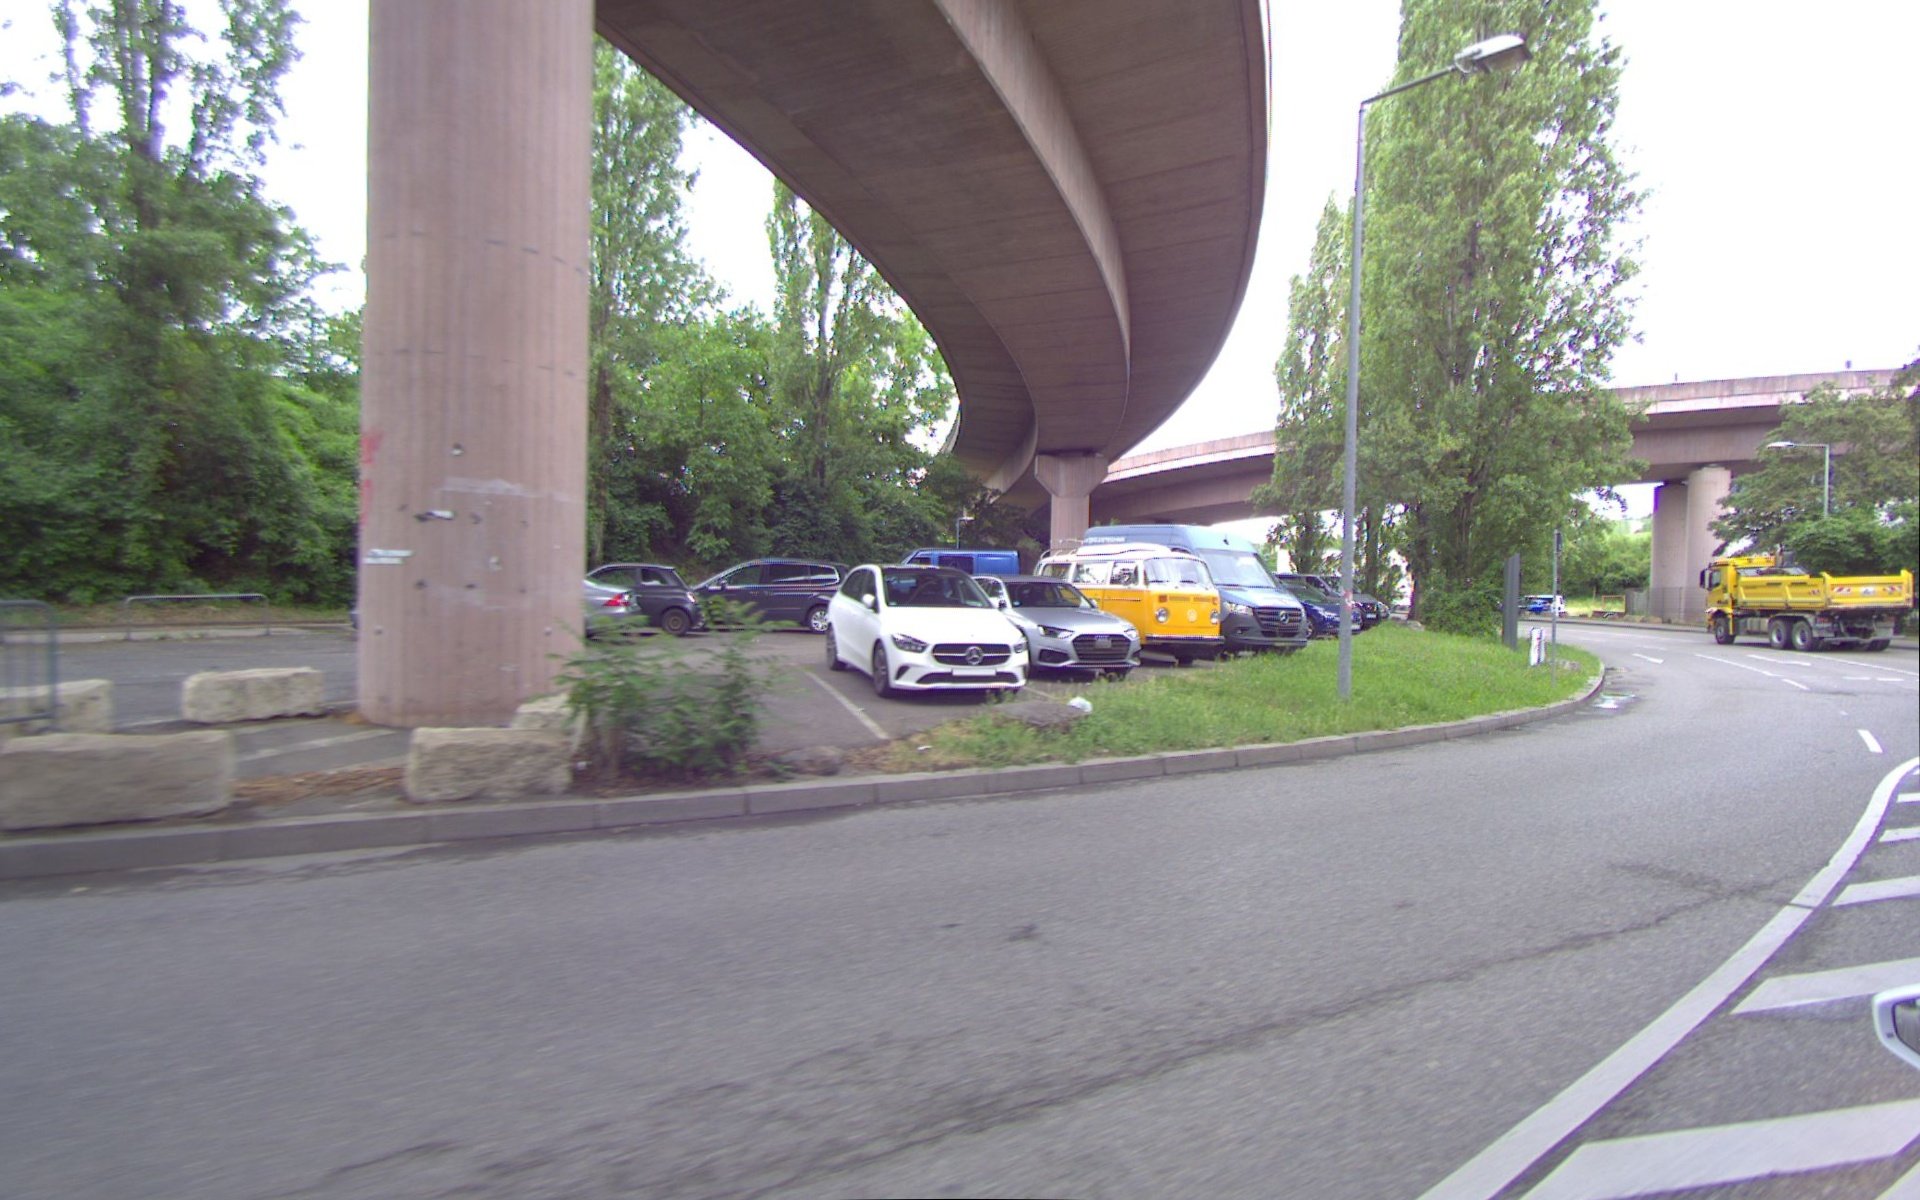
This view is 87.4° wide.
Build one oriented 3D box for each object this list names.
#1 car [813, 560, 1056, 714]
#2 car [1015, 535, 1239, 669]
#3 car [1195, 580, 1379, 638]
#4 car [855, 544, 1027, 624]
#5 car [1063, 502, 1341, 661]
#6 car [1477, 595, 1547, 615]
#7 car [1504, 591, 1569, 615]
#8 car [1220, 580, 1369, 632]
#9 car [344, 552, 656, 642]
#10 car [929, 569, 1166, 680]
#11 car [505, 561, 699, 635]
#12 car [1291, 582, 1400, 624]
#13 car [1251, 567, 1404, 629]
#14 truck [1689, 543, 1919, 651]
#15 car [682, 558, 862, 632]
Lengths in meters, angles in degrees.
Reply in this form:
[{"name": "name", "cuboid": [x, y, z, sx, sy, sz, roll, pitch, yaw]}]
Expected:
[{"name": "car", "cuboid": [-0.552, 0.335, 13.329, 1.925, 1.628, 4.373, 1, 3, -20]}, {"name": "car", "cuboid": [2.880, -0.031, 18.478, 1.825, 2.139, 4.542, 1, 2, -25]}, {"name": "car", "cuboid": [9.315, 0.252, 29.010, 2.056, 1.508, 4.805, 0, 0, -35]}, {"name": "car", "cuboid": [-0.617, -0.427, 30.482, 4.931, 2.284, 2.119, 0, -1, -13]}, {"name": "car", "cuboid": [4.693, -0.403, 20.828, 2.335, 2.762, 6.158, 0, 2, -24]}, {"name": "car", "cuboid": [43.536, 0.408, 79.286, 1.985, 1.461, 4.404, 1, -1, -42]}, {"name": "car", "cuboid": [47.055, 0.295, 82.067, 4.270, 1.882, 1.987, -1, -1, 45]}, {"name": "car", "cuboid": [10.543, 0.192, 31.988, 1.873, 1.532, 4.416, 0, 0, -29]}, {"name": "car", "cuboid": [-8.147, -0.073, 18.241, 4.800, 1.508, 1.859, 0, 3, -10]}, {"name": "car", "cuboid": [1.185, 0.276, 15.739, 1.971, 1.390, 4.234, 1, 3, -22]}, {"name": "car", "cuboid": [-7.361, -0.022, 20.984, 3.673, 1.460, 1.644, 0, -1, -16]}, {"name": "car", "cuboid": [17.454, 0.148, 45.702, 1.993, 1.815, 4.363, 0, -1, -31]}, {"name": "car", "cuboid": [13.486, -0.061, 37.210, 2.232, 2.099, 5.067, 2, -1, -29]}, {"name": "truck", "cuboid": [31.023, -0.178, 37.438, 2.877, 3.528, 8.248, -1, 1, 10]}, {"name": "car", "cuboid": [-4.431, -0.093, 24.100, 4.077, 1.698, 1.899, 0, -1, -8]}]
